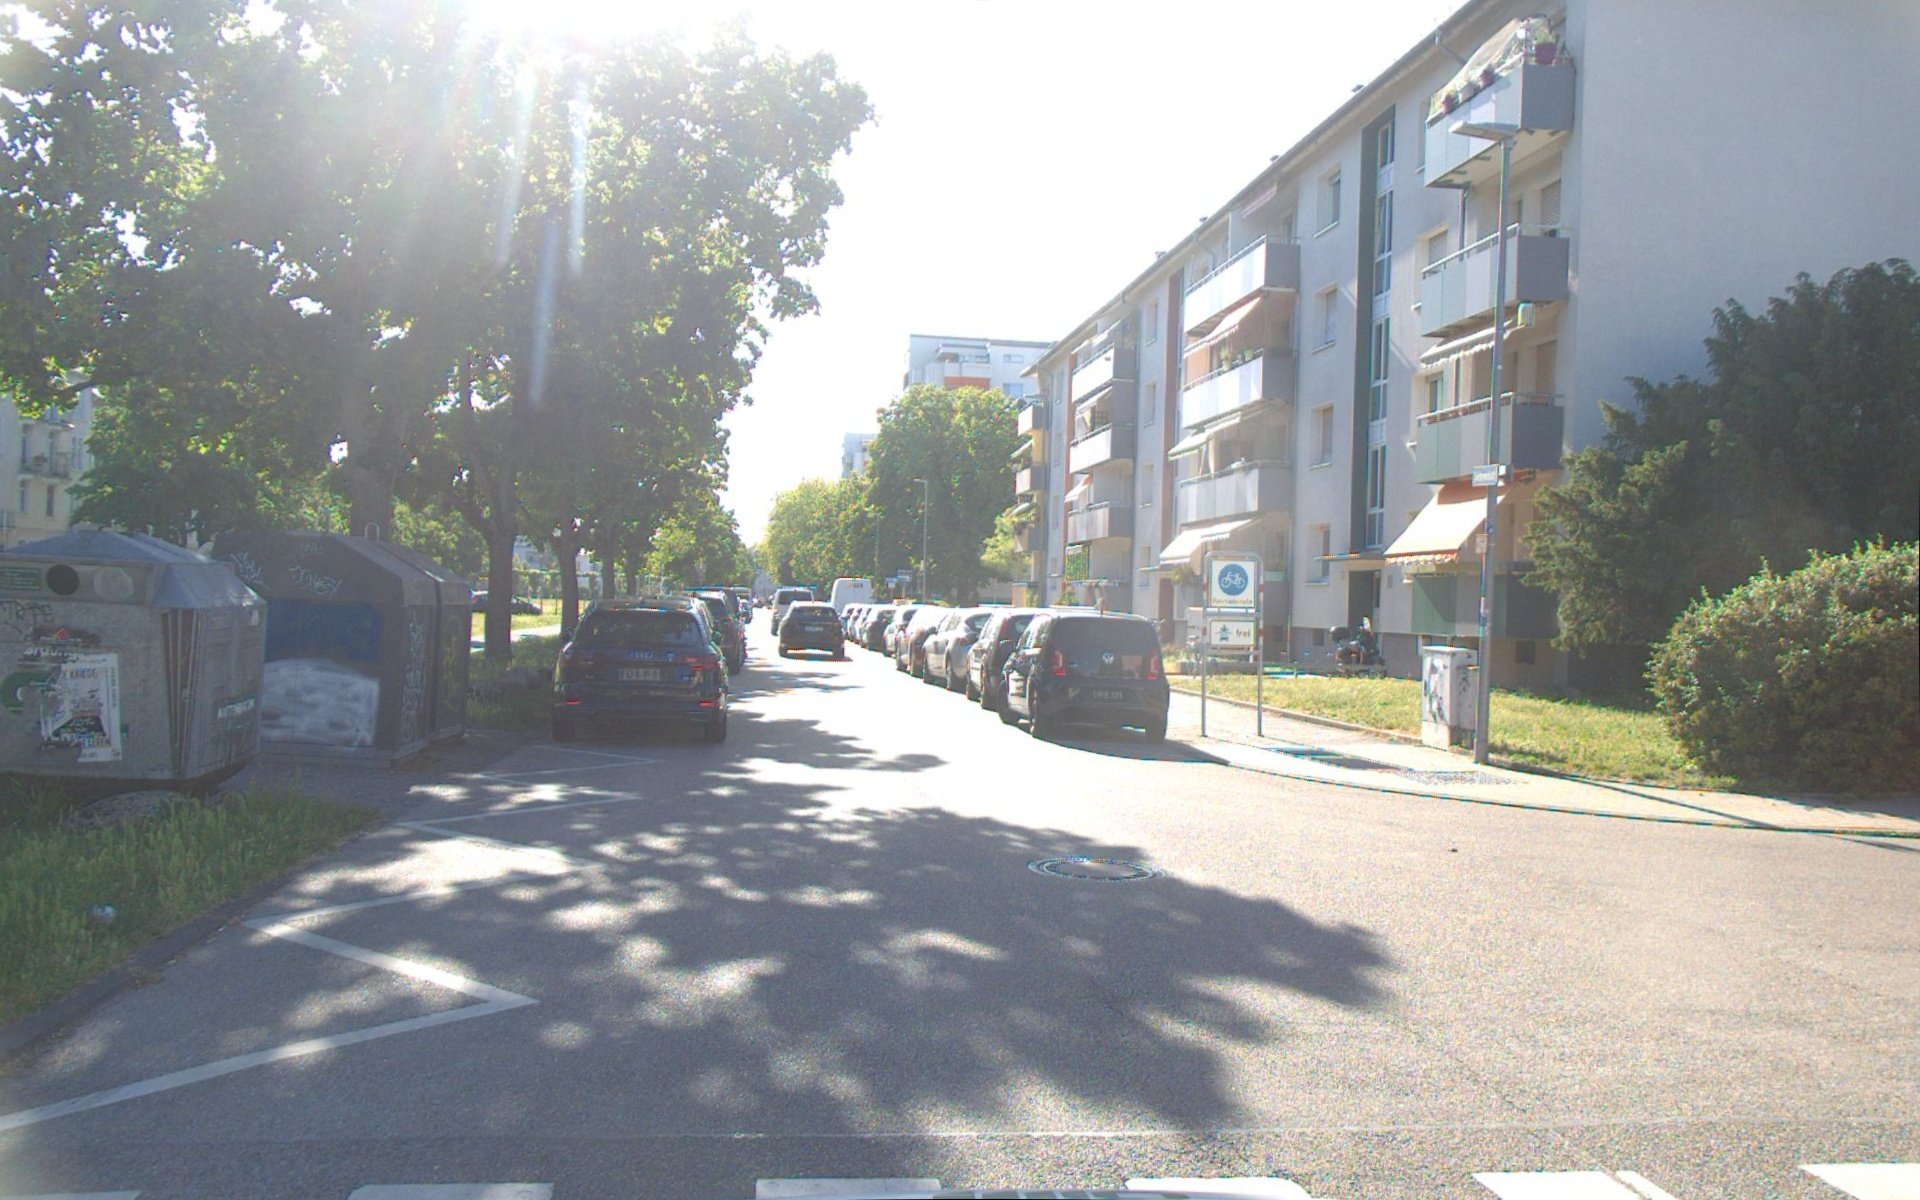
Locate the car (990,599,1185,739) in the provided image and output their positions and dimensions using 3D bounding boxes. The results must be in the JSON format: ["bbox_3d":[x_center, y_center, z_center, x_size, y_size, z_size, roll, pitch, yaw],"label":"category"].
[{"bbox_3d":[1.478,0.784,20.572,1.627,1.499,3.787,3,0,-7],"label":"car"}]

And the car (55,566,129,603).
[{"bbox_3d":[-47.352,-0.849,90.315,2.043,1.905,5.086,2,0,-10],"label":"car"}]

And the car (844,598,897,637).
[{"bbox_3d":[-3.670,0.676,66.965,1.842,1.501,4.134,1,0,-7],"label":"car"}]

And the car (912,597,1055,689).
[{"bbox_3d":[0.354,0.766,31.537,1.839,1.560,4.481,2,0,-11],"label":"car"}]

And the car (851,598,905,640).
[{"bbox_3d":[-3.074,0.696,61.628,1.688,1.460,4.146,1,0,-7],"label":"car"}]

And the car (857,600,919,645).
[{"bbox_3d":[-2.487,0.747,56.236,1.668,1.461,4.462,0,0,-9],"label":"car"}]

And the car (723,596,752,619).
[{"bbox_3d":[-14.027,0.473,104.596,1.714,1.450,3.911,0,-1,-6],"label":"car"}]

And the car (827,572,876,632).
[{"bbox_3d":[-5.280,0.083,79.498,2.101,2.760,6.832,0,0,-6],"label":"car"}]

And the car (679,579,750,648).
[{"bbox_3d":[-6.929,0.396,47.002,1.829,1.816,4.983,2,-1,-7],"label":"car"}]

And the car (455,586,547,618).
[{"bbox_3d":[-24.142,0.103,87.012,4.291,1.433,1.900,2,2,-32],"label":"car"}]

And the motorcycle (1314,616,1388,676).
[{"bbox_3d":[8.167,0.949,34.639,0.573,1.171,2.028,2,0,-16],"label":"motorcycle"}]

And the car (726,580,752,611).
[{"bbox_3d":[-18.865,-0.414,141.348,2.058,2.540,4.121,2,0,-6],"label":"car"}]

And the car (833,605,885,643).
[{"bbox_3d":[-4.419,1.023,71.584,1.815,1.491,4.193,3,0,-9],"label":"car"}]

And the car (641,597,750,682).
[{"bbox_3d":[-5.474,0.779,34.759,1.987,1.654,4.751,0,0,-6],"label":"car"}]

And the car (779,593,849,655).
[{"bbox_3d":[-4.030,0.625,45.377,1.745,1.558,3.995,3,0,-6],"label":"car"}]

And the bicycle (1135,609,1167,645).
[{"bbox_3d":[6.007,0.853,52.166,0.513,1.089,2.006,-1,0,-8],"label":"bicycle"}]

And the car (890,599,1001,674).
[{"bbox_3d":[-0.409,0.768,36.860,1.809,1.498,5.056,2,0,-8],"label":"car"}]

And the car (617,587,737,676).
[{"bbox_3d":[-4.903,0.543,29.058,1.844,1.444,3.798,1,-1,-7],"label":"car"}]

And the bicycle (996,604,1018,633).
[{"bbox_3d":[1.962,0.778,69.387,0.584,1.197,2.010,2,-2,-8],"label":"bicycle"}]

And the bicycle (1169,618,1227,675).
[{"bbox_3d":[4.888,0.934,34.049,0.706,1.096,1.894,2,0,-6],"label":"bicycle"}]

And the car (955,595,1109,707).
[{"bbox_3d":[1.034,0.736,26.027,1.736,1.556,4.551,2,0,-6],"label":"car"}]

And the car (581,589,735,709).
[{"bbox_3d":[-4.343,0.631,24.029,1.957,1.543,5.146,0,0,-10],"label":"car"}]

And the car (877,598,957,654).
[{"bbox_3d":[-1.292,0.731,47.752,1.716,1.525,3.851,1,0,-10],"label":"car"}]

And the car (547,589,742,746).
[{"bbox_3d":[-3.420,0.656,18.342,1.801,1.477,4.957,1,0,-9],"label":"car"}]

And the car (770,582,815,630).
[{"bbox_3d":[-7.158,0.251,70.770,1.858,2.026,4.005,0,0,-6],"label":"car"}]

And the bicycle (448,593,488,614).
[{"bbox_3d":[-26.711,0.198,89.777,1.959,1.034,0.650,2,0,-36],"label":"bicycle"}]

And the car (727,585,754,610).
[{"bbox_3d":[-17.909,-0.201,135.018,2.059,1.976,4.120,2,0,-7],"label":"car"}]

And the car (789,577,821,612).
[{"bbox_3d":[-12.770,-0.451,136.230,2.124,2.736,5.403,2,0,-10],"label":"car"}]
